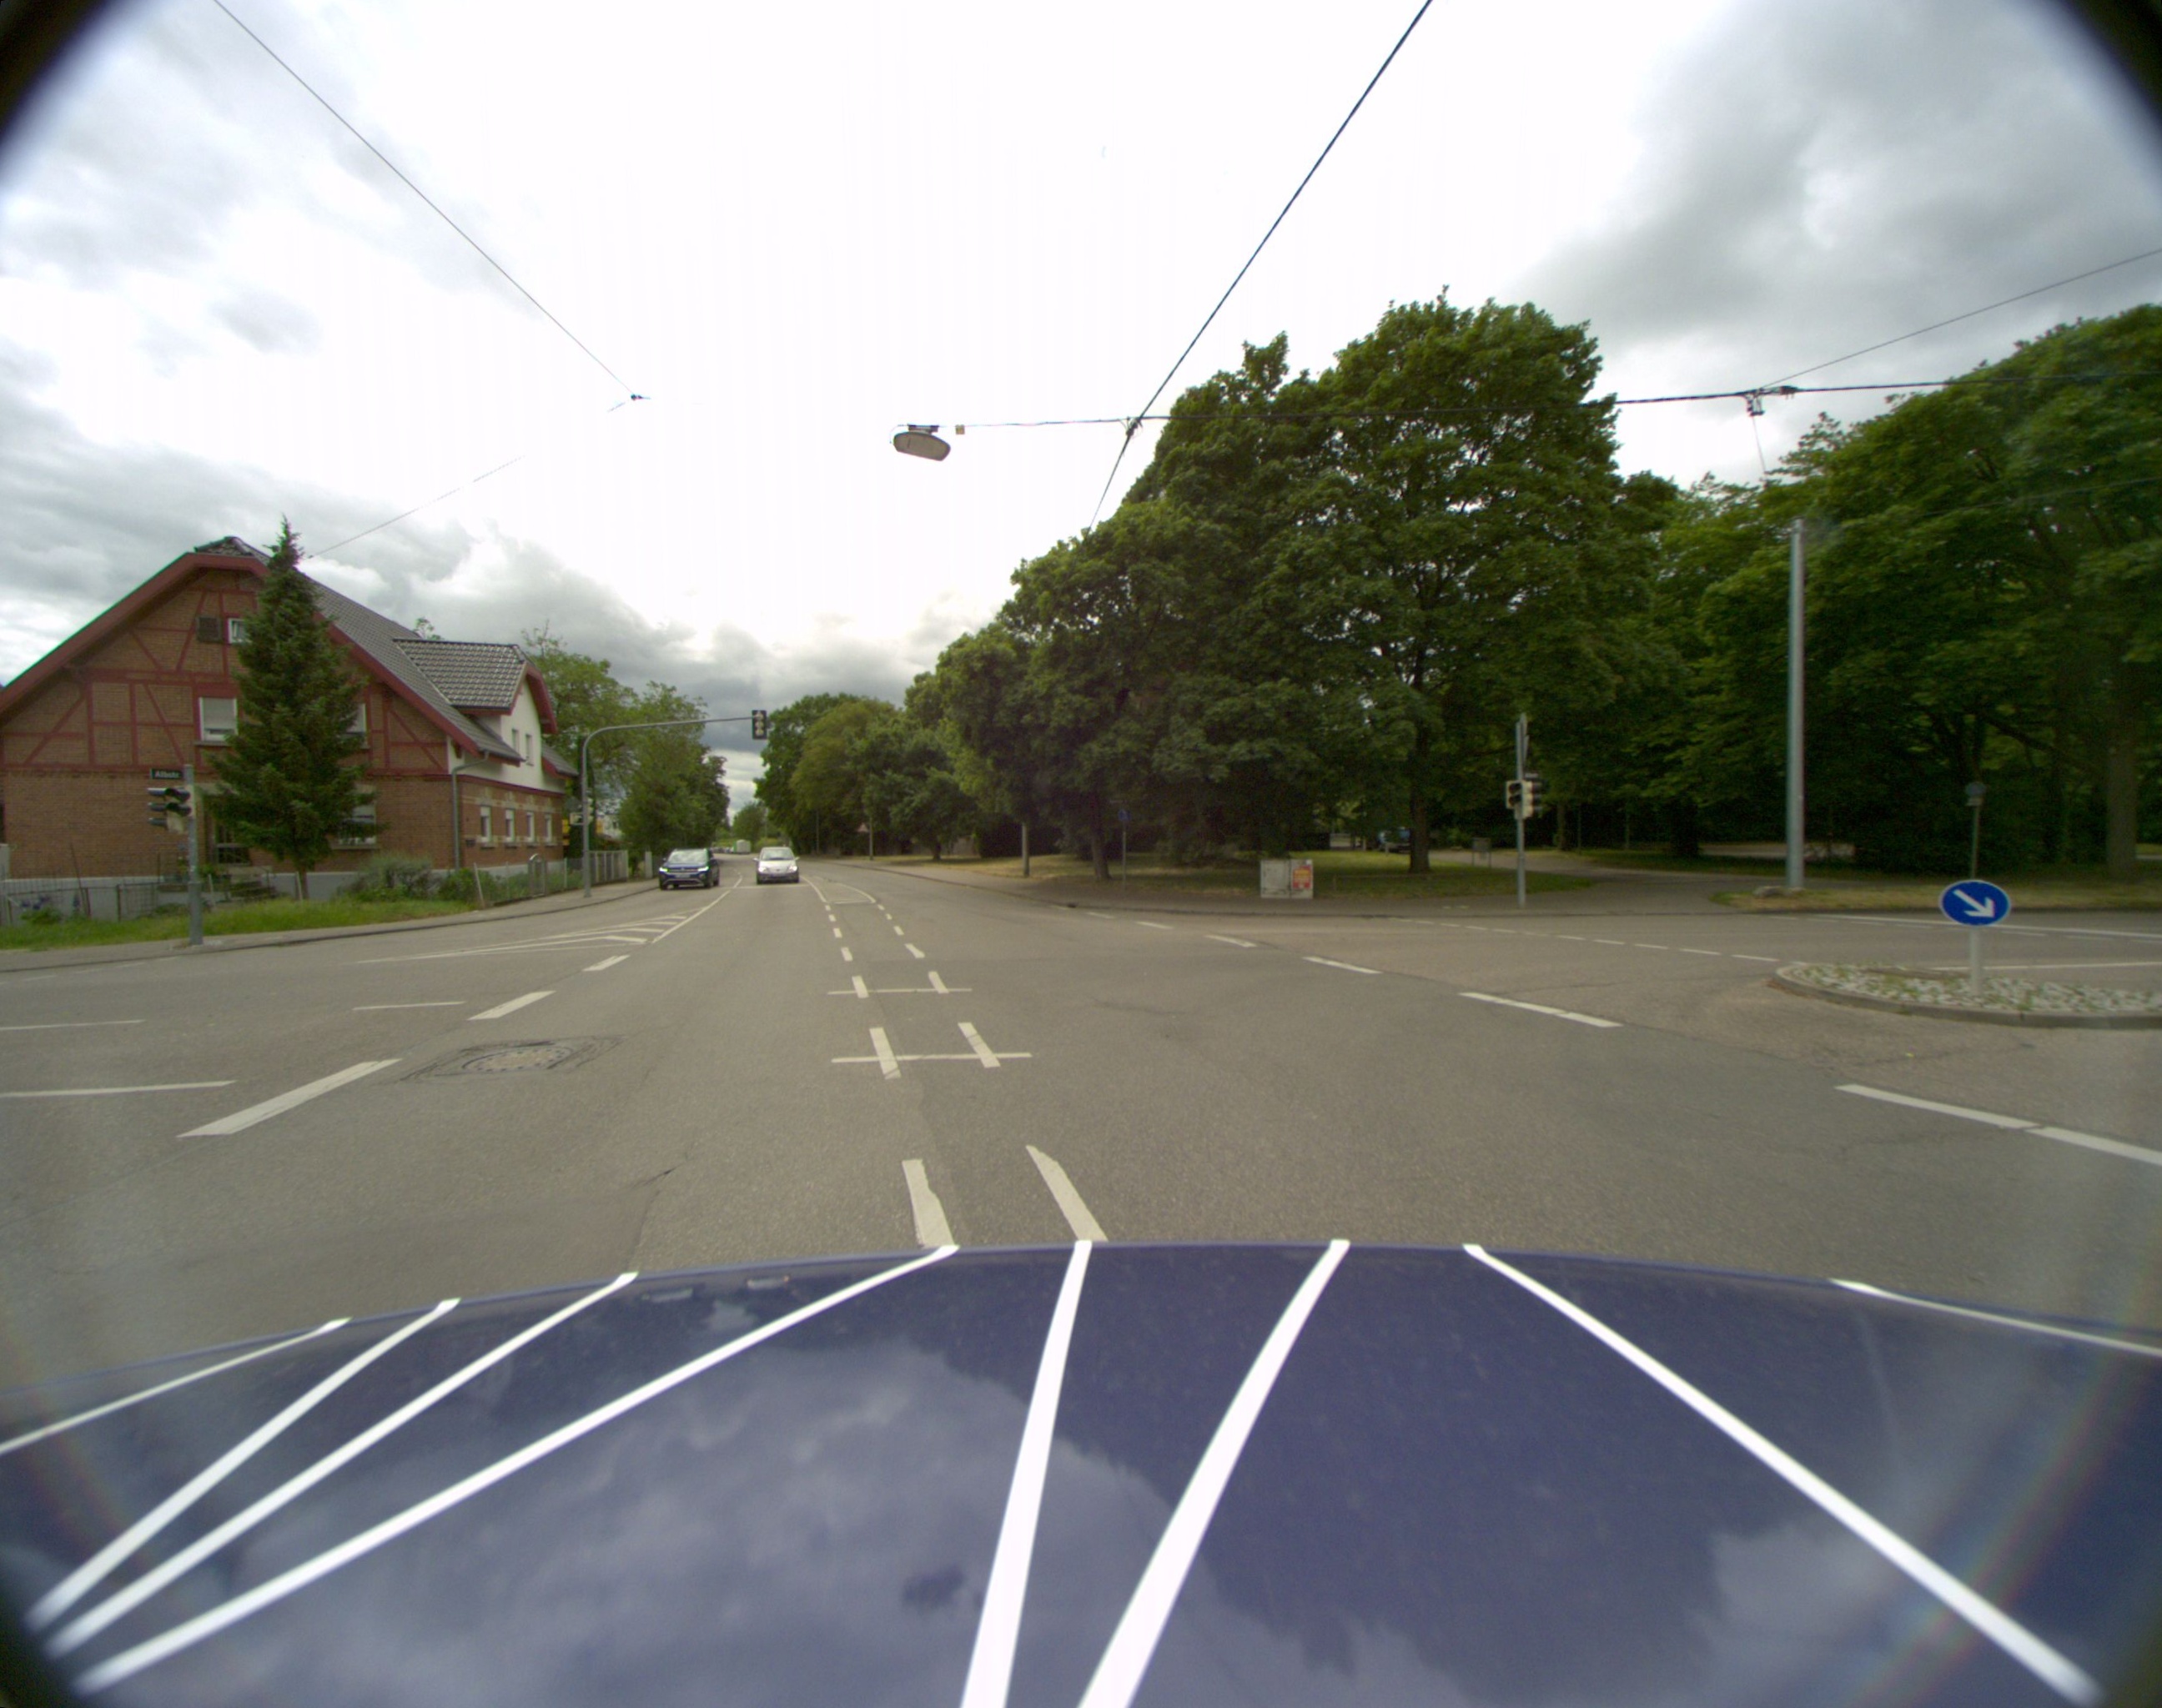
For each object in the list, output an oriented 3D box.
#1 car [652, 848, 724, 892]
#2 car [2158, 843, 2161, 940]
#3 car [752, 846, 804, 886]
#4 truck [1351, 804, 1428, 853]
[{"bbox_3d":[-15.392,0.577,29.983,1.929,1.510,3.992,-2,2,-19],"label":"car"},{"bbox_3d":[19.721,0.607,11.392,3.995,1.609,2.000,-1,2,5],"label":"car"},{"bbox_3d":[-13.377,0.485,33.449,1.783,1.510,3.549,-3,3,-26],"label":"car"},{"bbox_3d":[19.502,-1.613,48.472,2.480,2.831,7.433,-1,2,5],"label":"truck"}]
